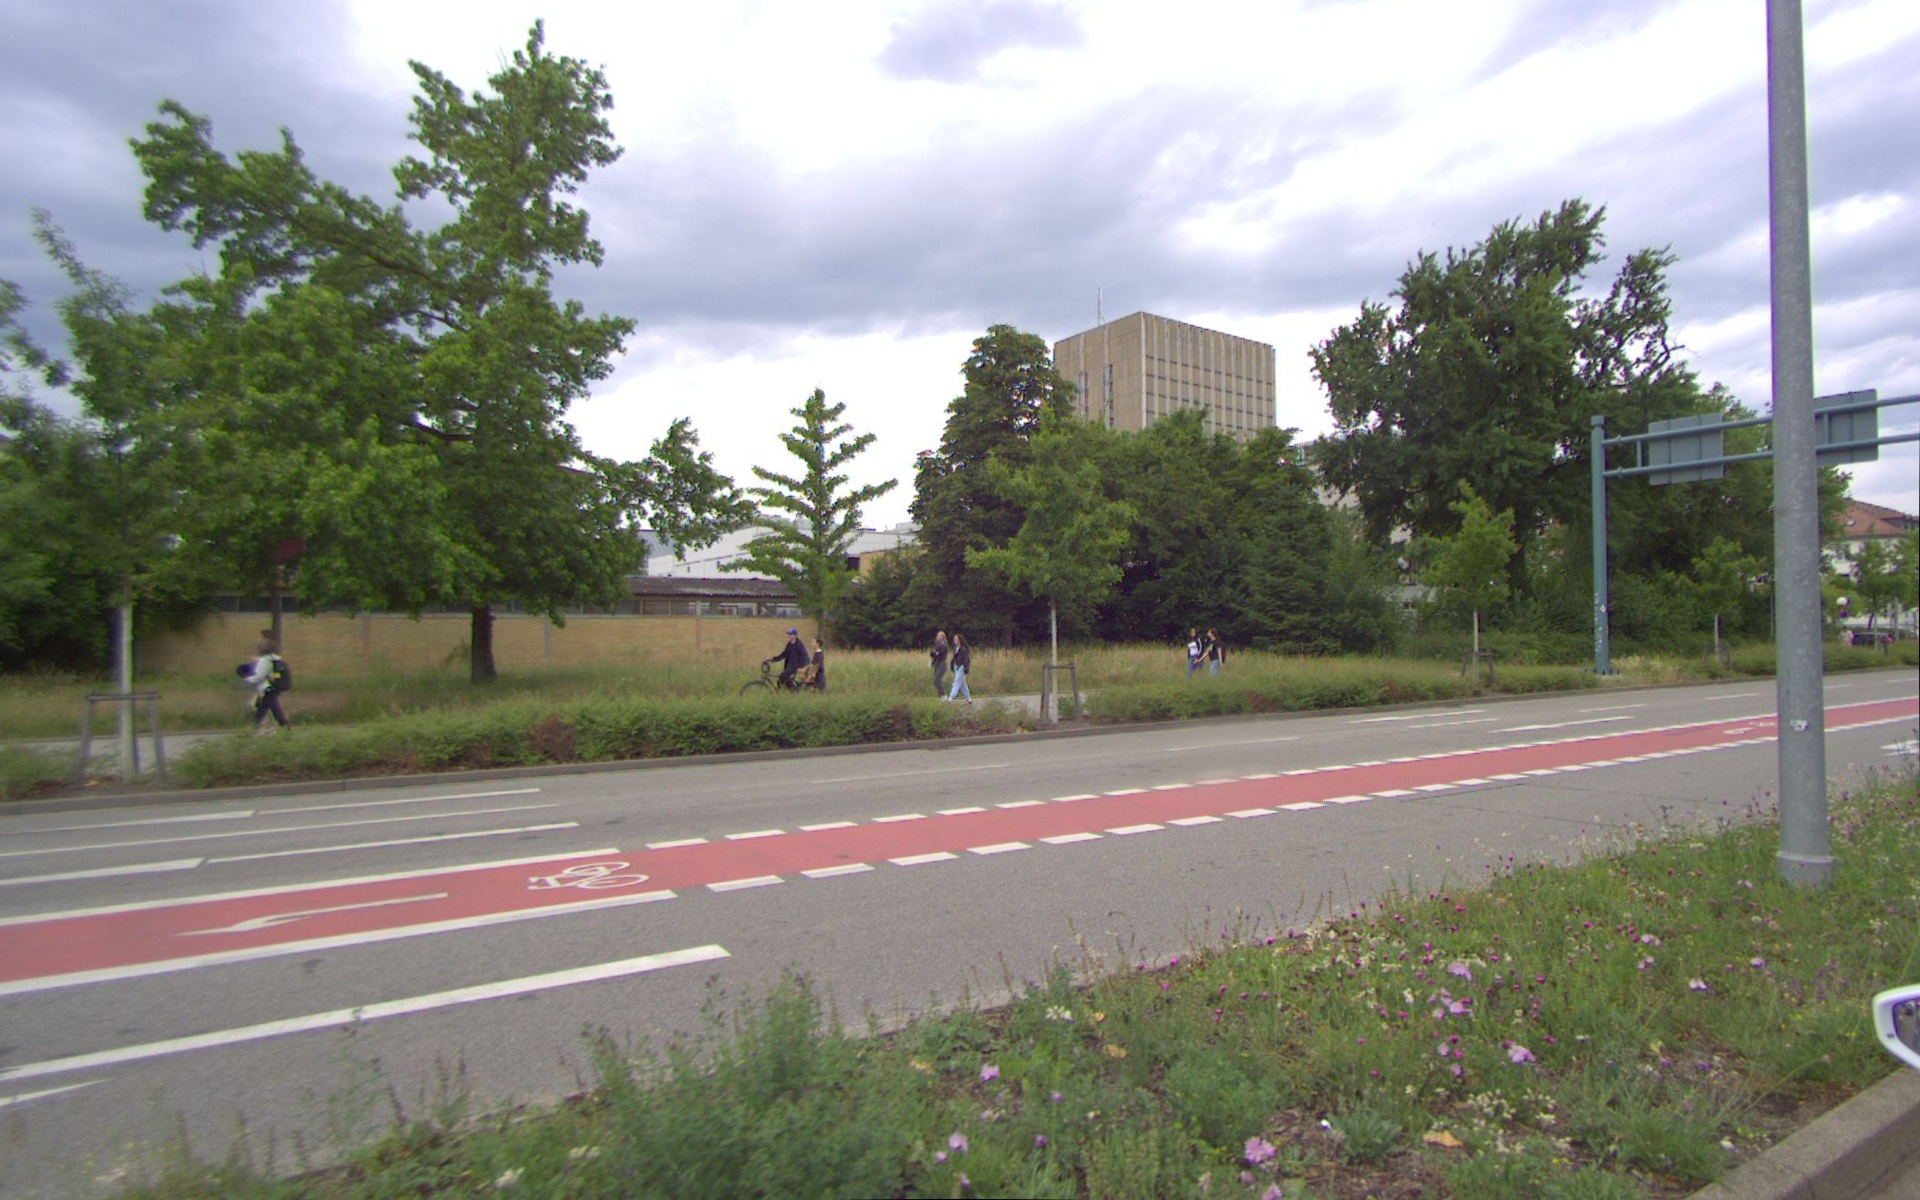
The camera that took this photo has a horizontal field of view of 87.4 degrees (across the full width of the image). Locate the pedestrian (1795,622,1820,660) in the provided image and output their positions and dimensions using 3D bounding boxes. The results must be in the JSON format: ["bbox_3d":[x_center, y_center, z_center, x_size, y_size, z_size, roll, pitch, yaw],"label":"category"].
[{"bbox_3d":[39.906,1.944,47.312,0.809,1.752,0.617,0,-3,-32],"label":"pedestrian"}]

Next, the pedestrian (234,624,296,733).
[{"bbox_3d":[-11.321,1.265,16.383,0.752,1.734,0.577,0,-3,-27],"label":"pedestrian"}]

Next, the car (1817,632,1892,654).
[{"bbox_3d":[62.276,2.991,69.975,1.548,1.240,3.629,-8,4,-37],"label":"car"}]

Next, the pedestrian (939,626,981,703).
[{"bbox_3d":[0.000,1.445,22.656,0.714,1.682,0.581,0,-3,-37],"label":"pedestrian"}]

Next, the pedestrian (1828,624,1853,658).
[{"bbox_3d":[44.313,2.074,50.548,0.664,1.657,0.696,0,-3,-31],"label":"pedestrian"}]

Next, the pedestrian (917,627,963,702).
[{"bbox_3d":[-0.464,1.497,23.322,0.760,1.694,0.702,0,-3,-37],"label":"pedestrian"}]

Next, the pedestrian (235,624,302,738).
[{"bbox_3d":[-10.830,1.257,15.751,0.736,1.717,0.620,0,-3,-23],"label":"pedestrian"}]

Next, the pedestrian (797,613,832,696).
[{"bbox_3d":[-2.904,1.083,20.014,0.606,1.630,0.575,-1,-2,-16],"label":"pedestrian"}]

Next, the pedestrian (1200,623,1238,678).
[{"bbox_3d":[6.650,1.295,25.800,0.707,1.375,0.638,1,-3,-45],"label":"pedestrian"}]

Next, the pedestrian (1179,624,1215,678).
[{"bbox_3d":[6.238,1.337,26.420,0.676,1.380,0.638,1,-3,-45],"label":"pedestrian"}]

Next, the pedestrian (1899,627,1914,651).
[{"bbox_3d":[63.634,2.599,67.519,0.562,1.545,0.847,-1,-6,35],"label":"pedestrian"}]

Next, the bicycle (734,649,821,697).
[{"bbox_3d":[-3.721,1.477,20.451,1.687,0.899,0.661,-1,-3,-17],"label":"bicycle"}]

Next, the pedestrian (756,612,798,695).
[{"bbox_3d":[-3.730,1.087,20.467,0.751,1.653,0.661,-1,-3,-16],"label":"pedestrian"}]
